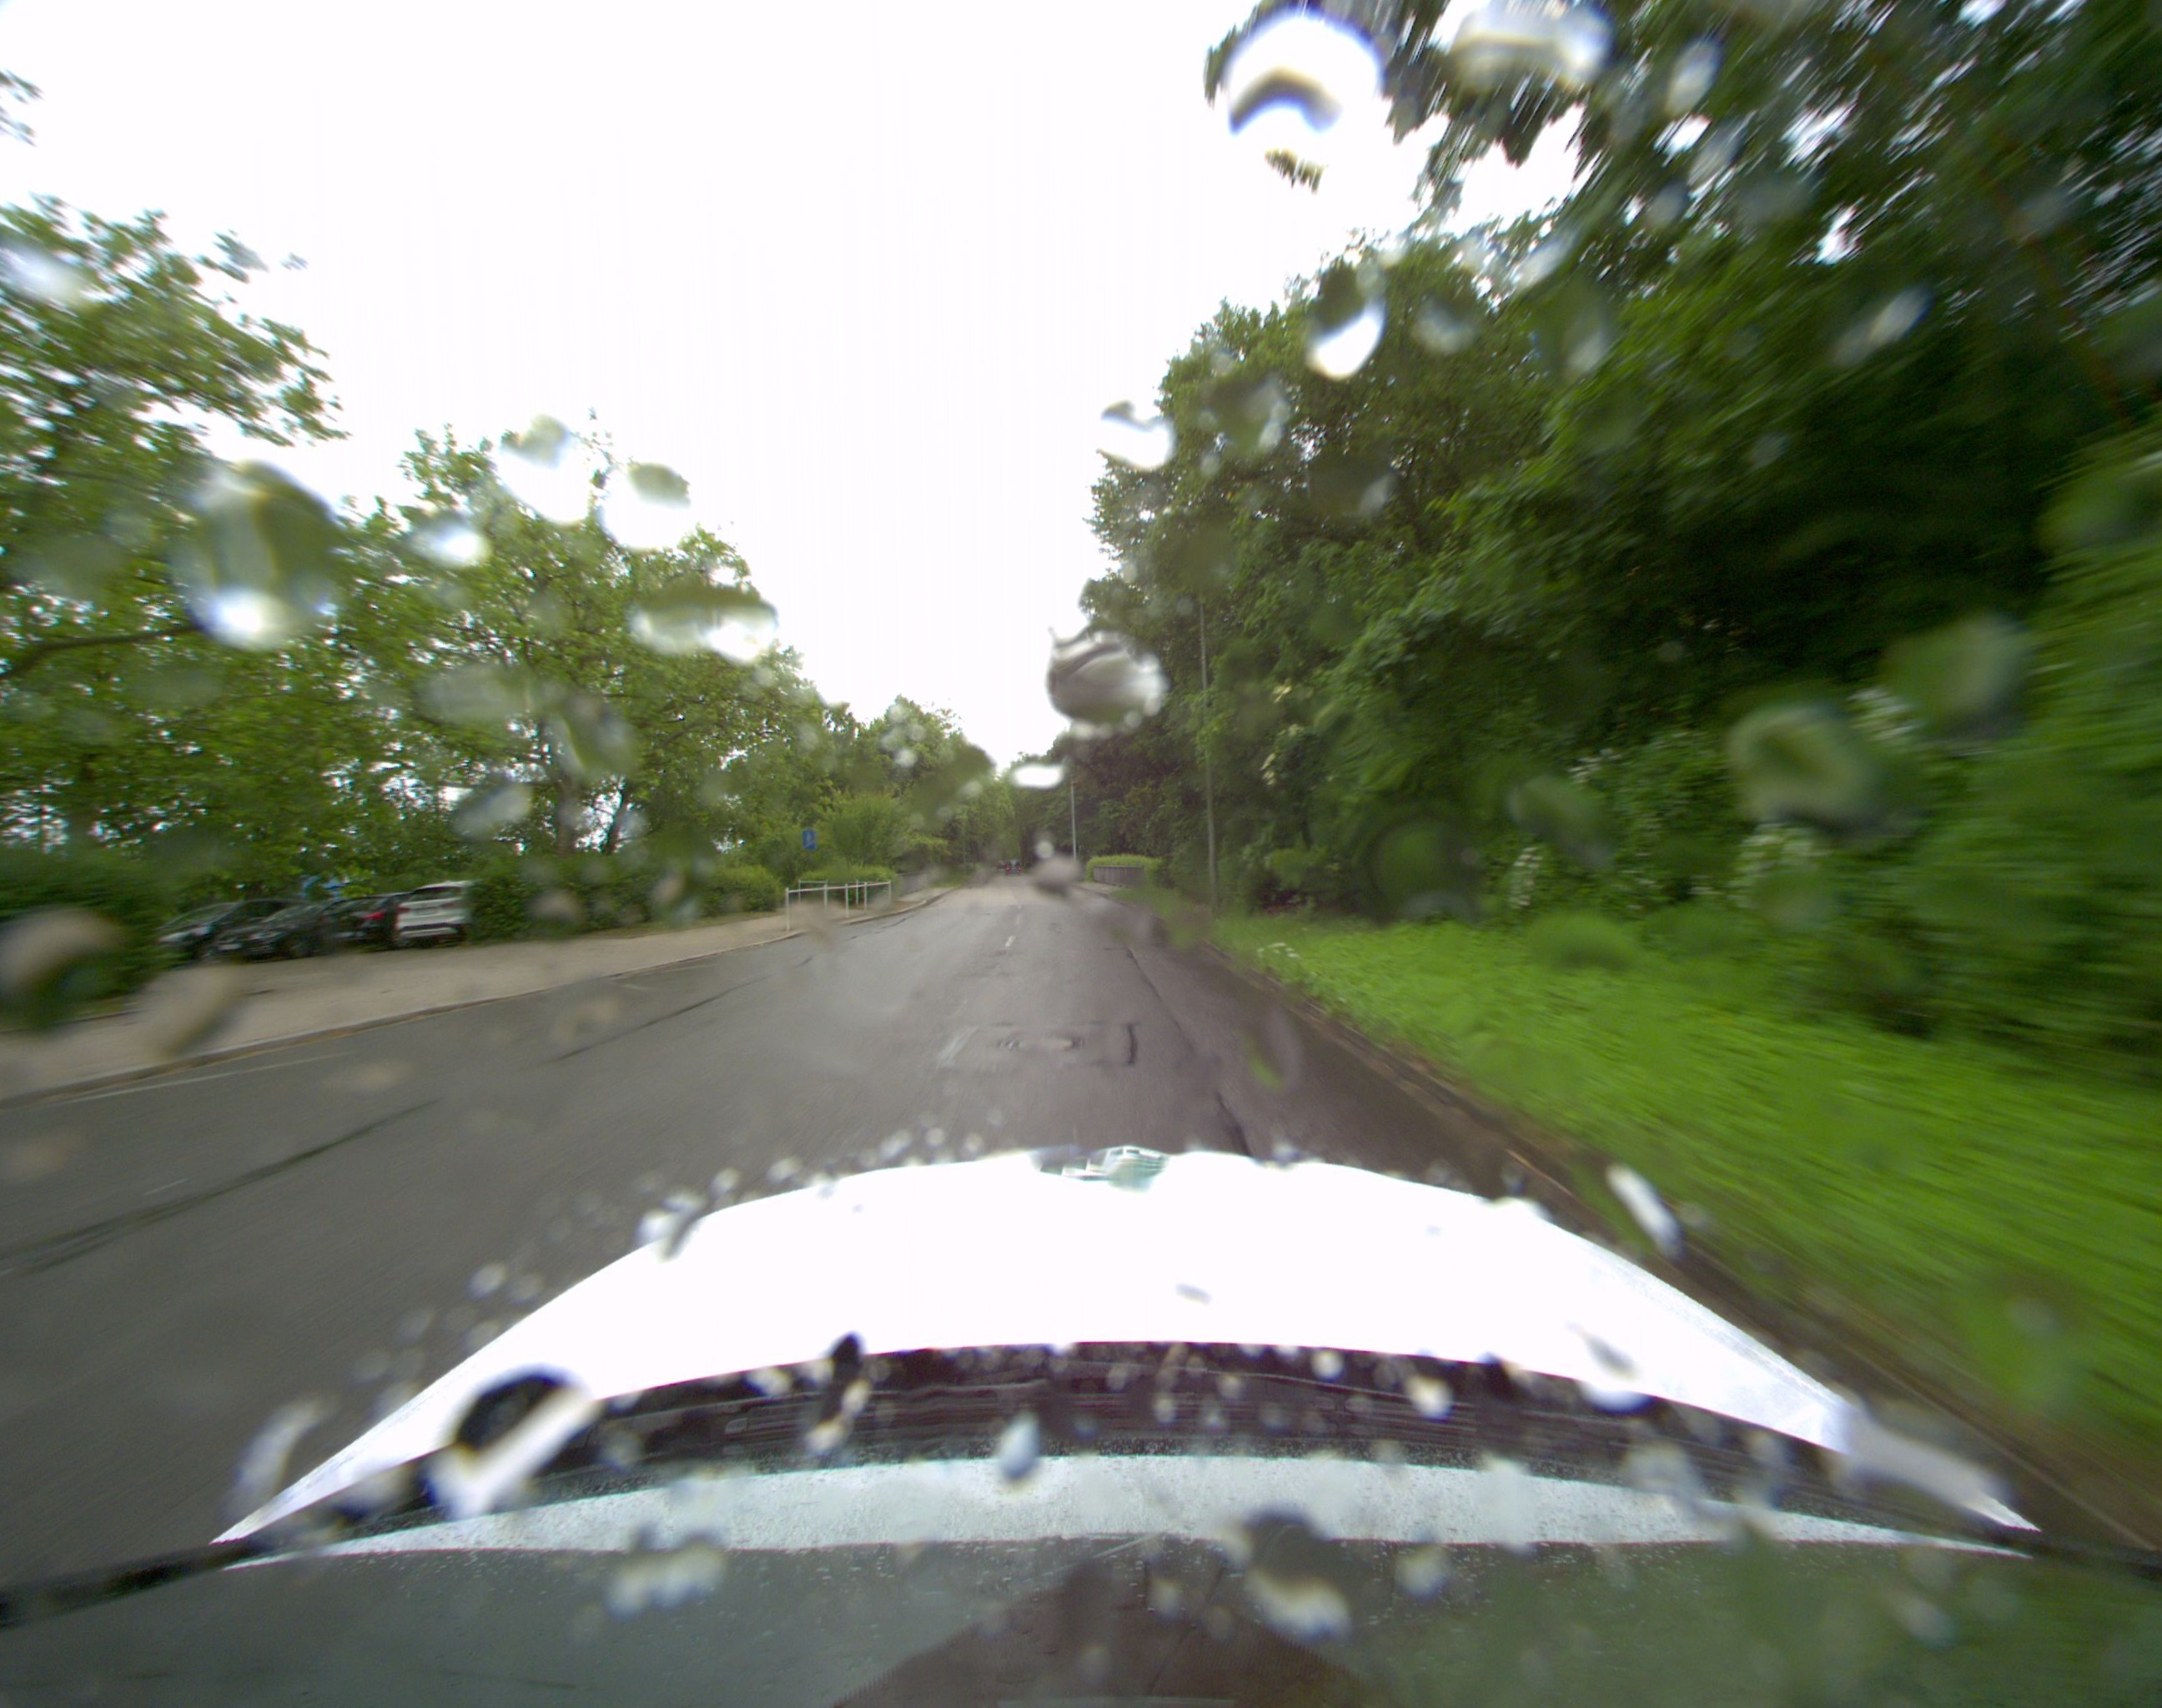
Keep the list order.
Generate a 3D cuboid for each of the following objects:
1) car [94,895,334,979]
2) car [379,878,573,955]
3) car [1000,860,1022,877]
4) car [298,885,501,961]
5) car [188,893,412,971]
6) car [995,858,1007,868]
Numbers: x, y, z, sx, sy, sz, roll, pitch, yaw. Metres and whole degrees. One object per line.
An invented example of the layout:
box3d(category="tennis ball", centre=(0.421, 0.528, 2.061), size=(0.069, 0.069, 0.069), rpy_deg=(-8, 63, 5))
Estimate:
box3d(category="car", centre=(-22.379, 2.066, 21.292), size=(1.788, 1.643, 4.002), rpy_deg=(-5, 0, 2))
box3d(category="car", centre=(-15.317, 1.514, 20.939), size=(1.788, 1.510, 4.002), rpy_deg=(-5, 0, 2))
box3d(category="car", centre=(-8.368, 1.665, 96.843), size=(1.987, 1.926, 3.983), rpy_deg=(-2, 0, -13))
box3d(category="car", centre=(-17.729, 1.726, 21.469), size=(1.788, 1.510, 4.002), rpy_deg=(-5, 0, 2))
box3d(category="car", centre=(-20.129, 1.931, 21.270), size=(1.788, 1.510, 4.002), rpy_deg=(-5, 0, 2))
box3d(category="car", centre=(-15.060, 1.739, 152.979), size=(1.993, 1.816, 3.987), rpy_deg=(-1, -1, -10))
